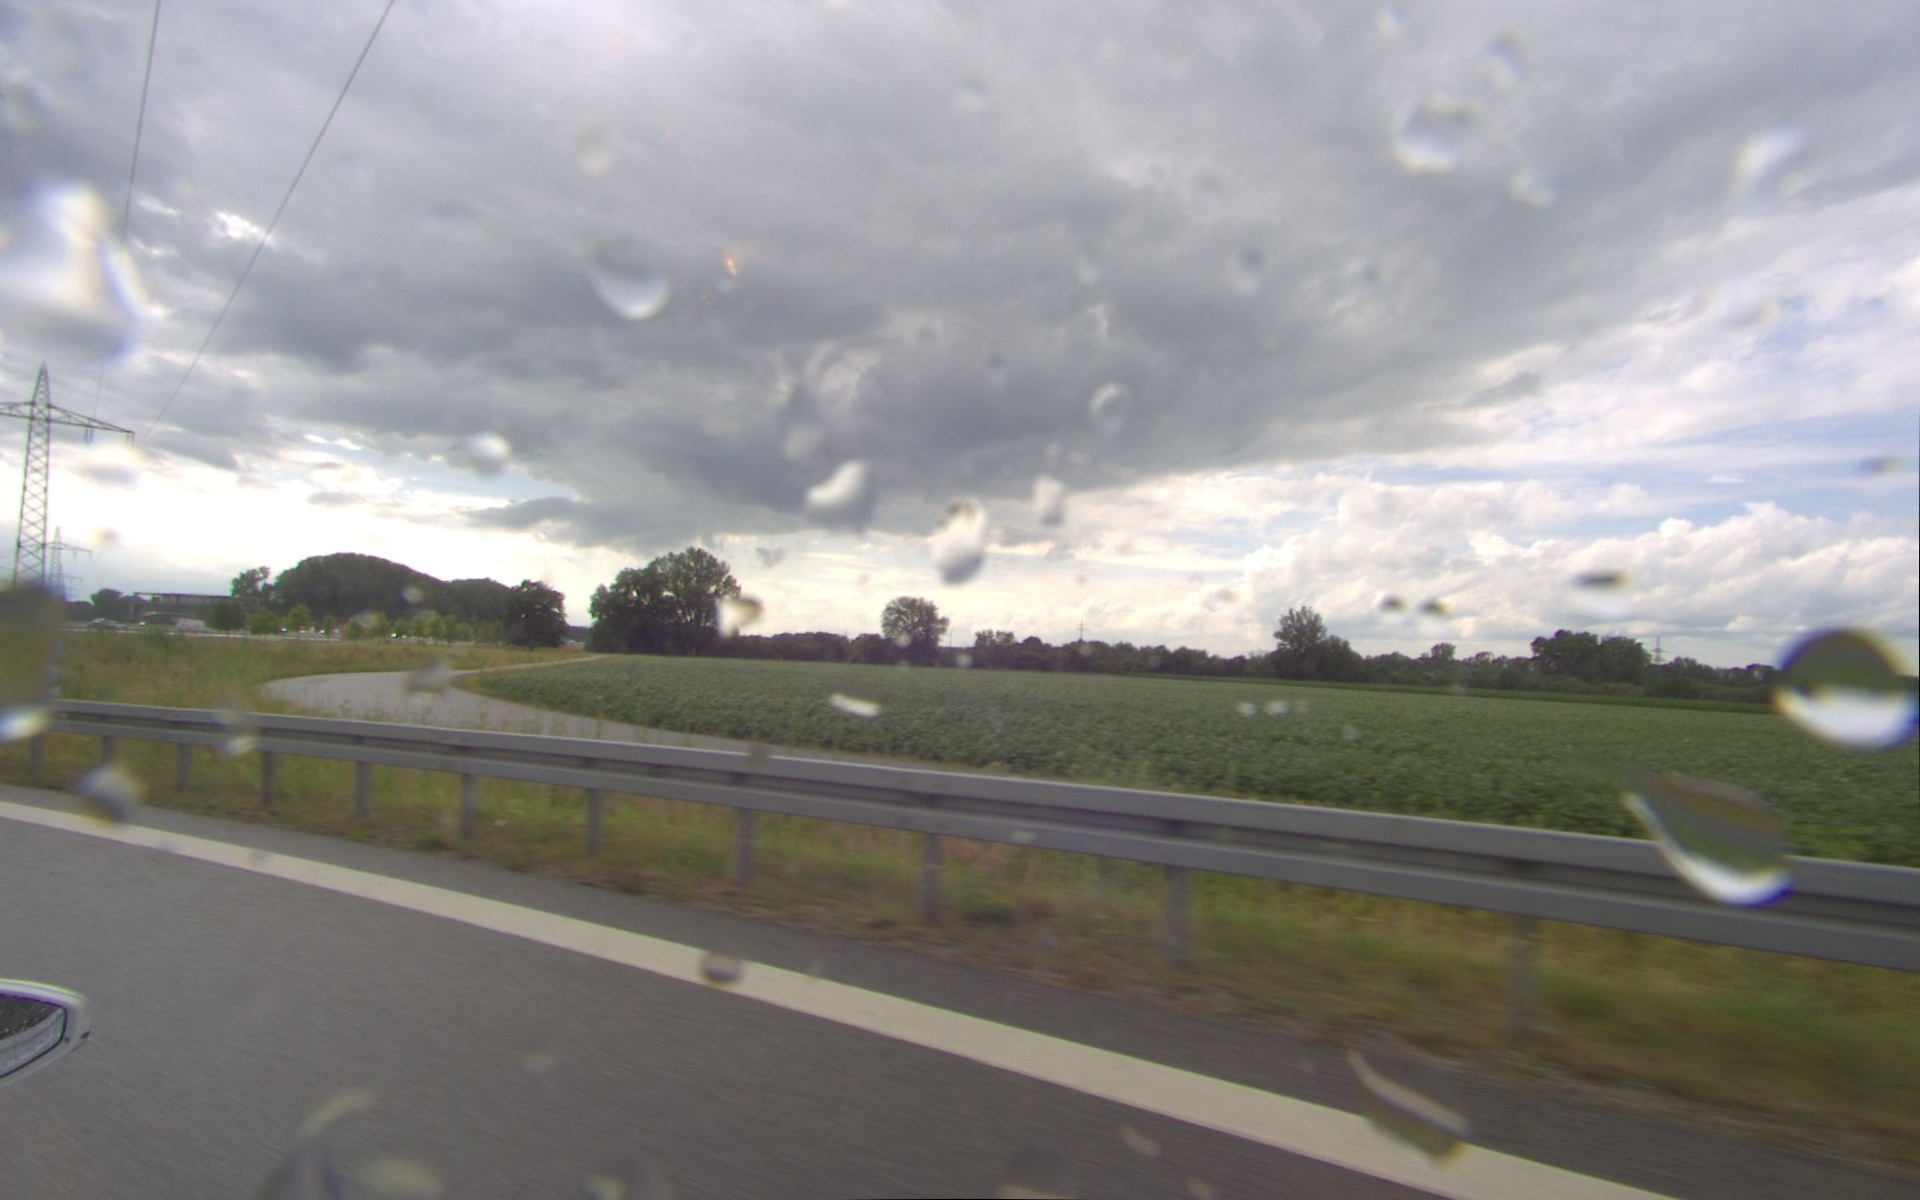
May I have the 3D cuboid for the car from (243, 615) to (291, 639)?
[{"bbox_3d":[-122.379,4.829,176.964,3.331,3.654,9.046,3,-4,-10],"label":"car"}]
